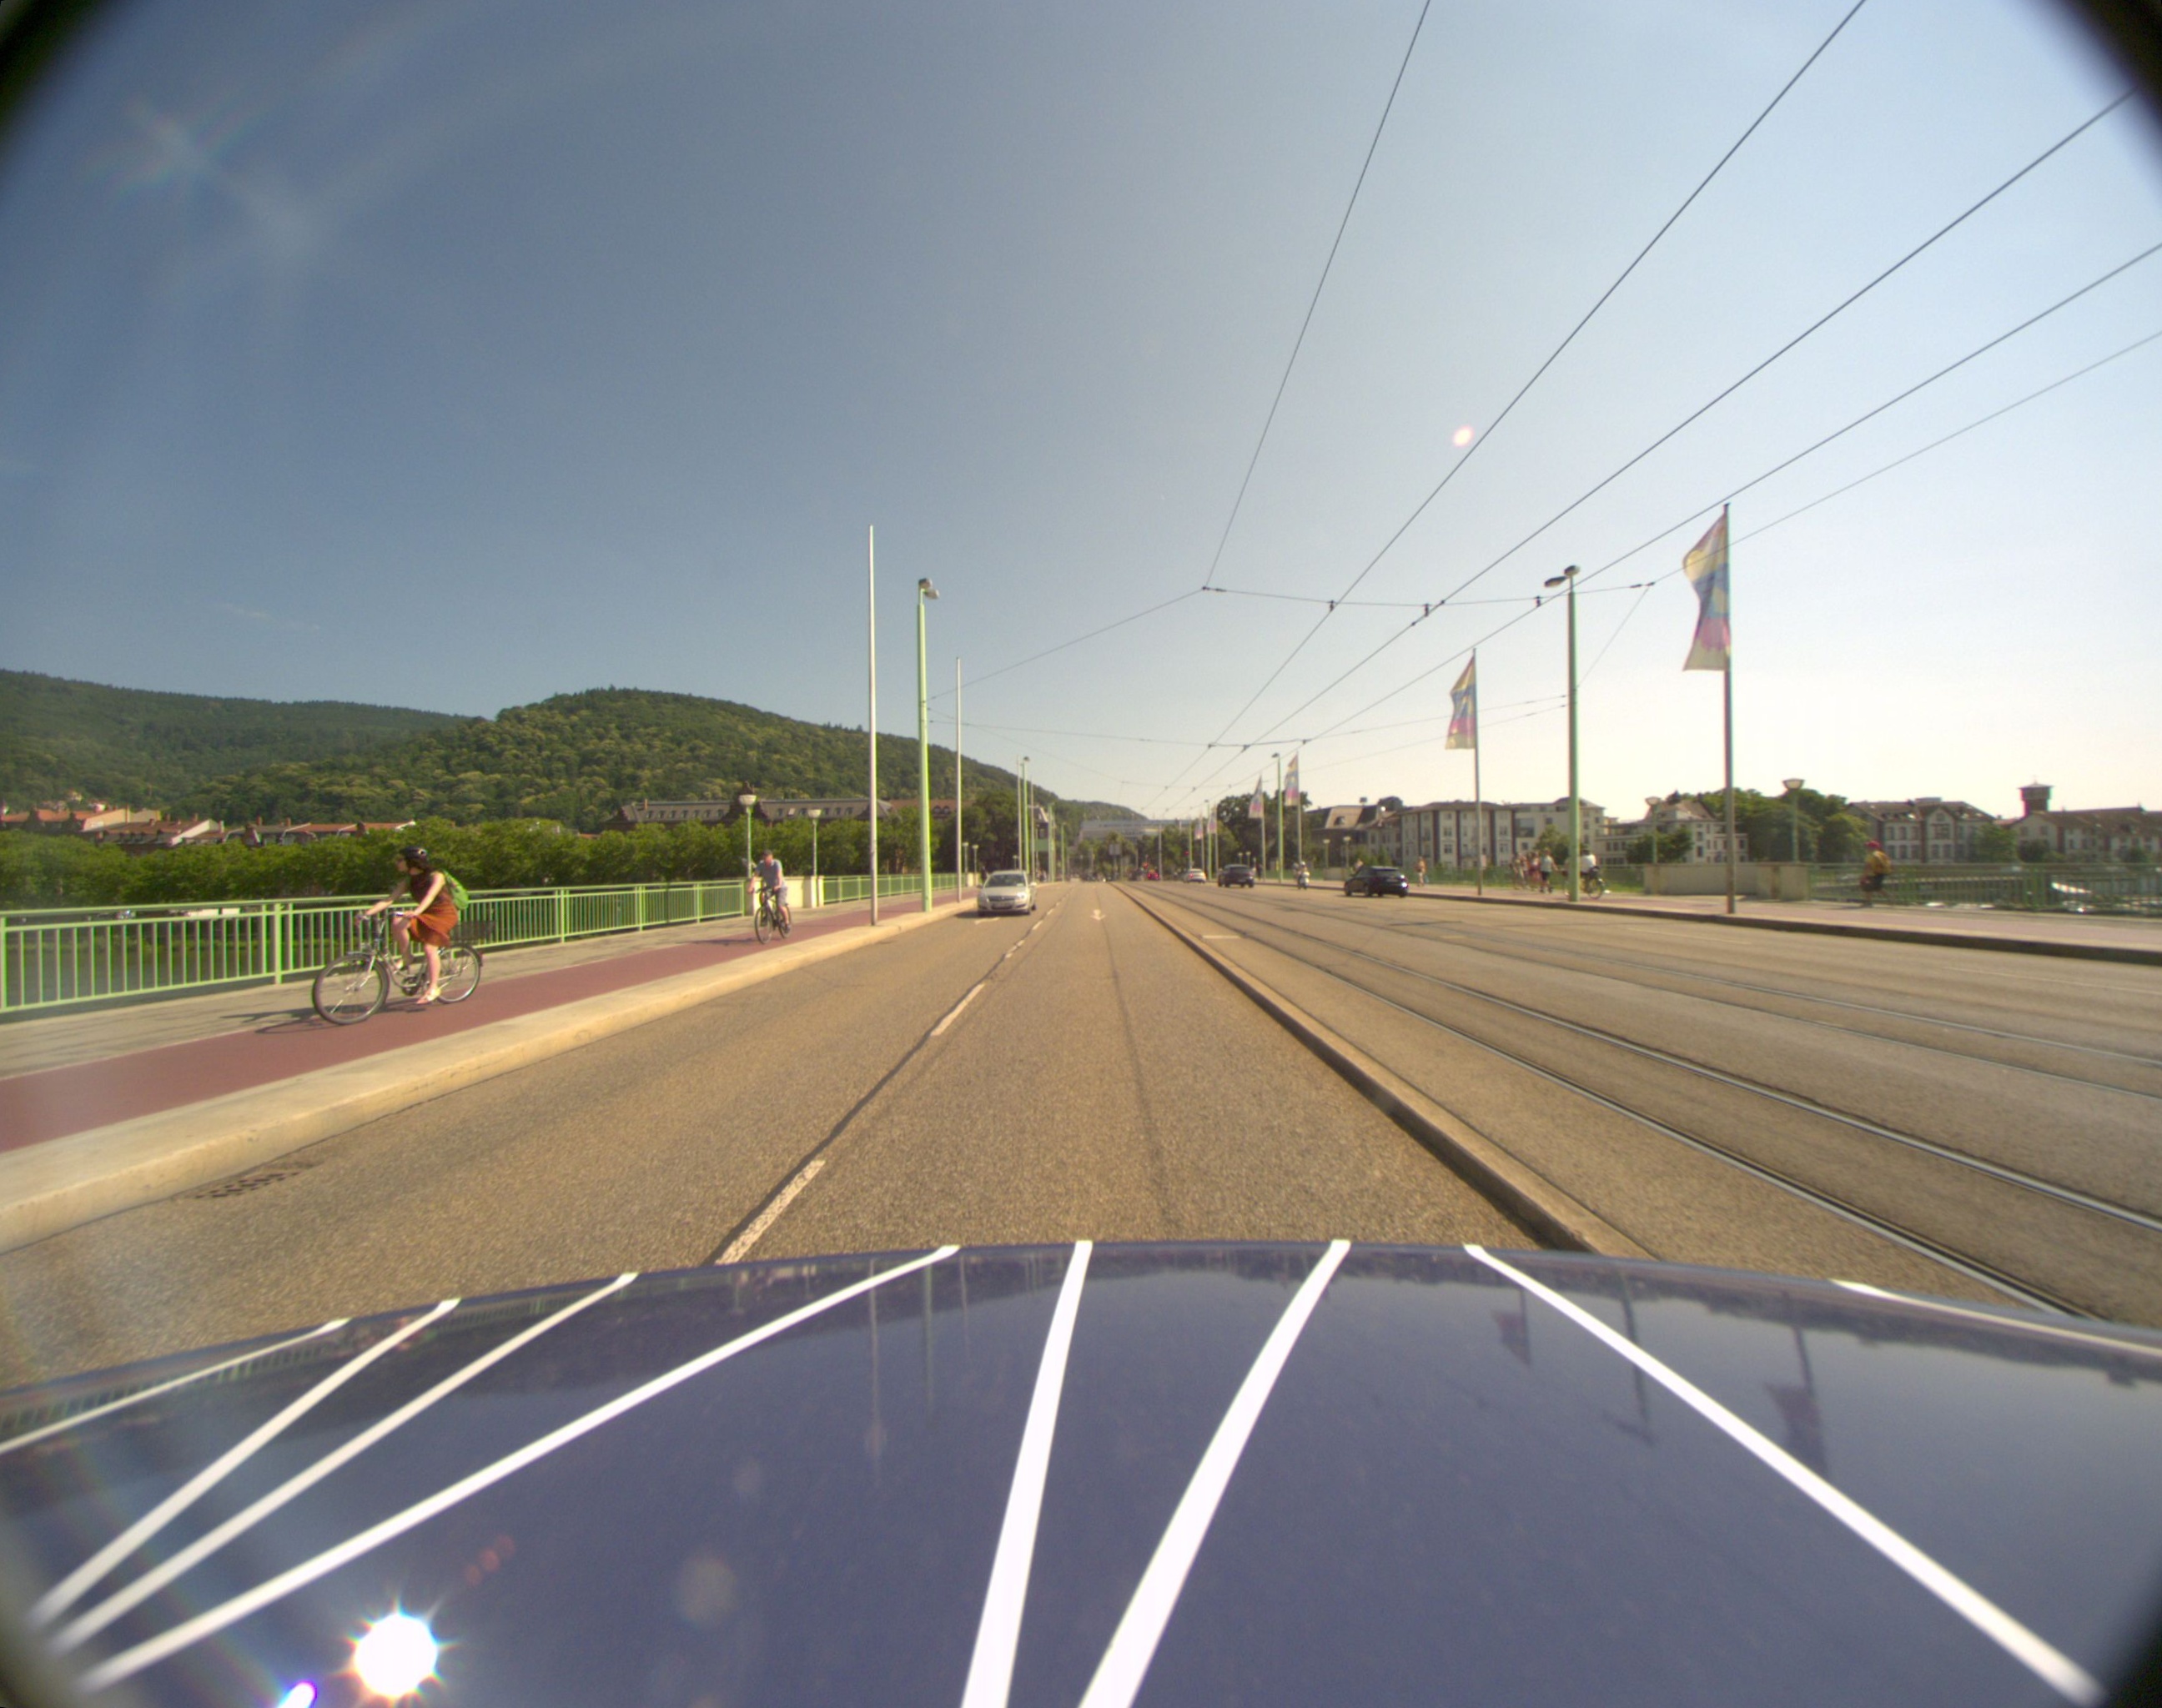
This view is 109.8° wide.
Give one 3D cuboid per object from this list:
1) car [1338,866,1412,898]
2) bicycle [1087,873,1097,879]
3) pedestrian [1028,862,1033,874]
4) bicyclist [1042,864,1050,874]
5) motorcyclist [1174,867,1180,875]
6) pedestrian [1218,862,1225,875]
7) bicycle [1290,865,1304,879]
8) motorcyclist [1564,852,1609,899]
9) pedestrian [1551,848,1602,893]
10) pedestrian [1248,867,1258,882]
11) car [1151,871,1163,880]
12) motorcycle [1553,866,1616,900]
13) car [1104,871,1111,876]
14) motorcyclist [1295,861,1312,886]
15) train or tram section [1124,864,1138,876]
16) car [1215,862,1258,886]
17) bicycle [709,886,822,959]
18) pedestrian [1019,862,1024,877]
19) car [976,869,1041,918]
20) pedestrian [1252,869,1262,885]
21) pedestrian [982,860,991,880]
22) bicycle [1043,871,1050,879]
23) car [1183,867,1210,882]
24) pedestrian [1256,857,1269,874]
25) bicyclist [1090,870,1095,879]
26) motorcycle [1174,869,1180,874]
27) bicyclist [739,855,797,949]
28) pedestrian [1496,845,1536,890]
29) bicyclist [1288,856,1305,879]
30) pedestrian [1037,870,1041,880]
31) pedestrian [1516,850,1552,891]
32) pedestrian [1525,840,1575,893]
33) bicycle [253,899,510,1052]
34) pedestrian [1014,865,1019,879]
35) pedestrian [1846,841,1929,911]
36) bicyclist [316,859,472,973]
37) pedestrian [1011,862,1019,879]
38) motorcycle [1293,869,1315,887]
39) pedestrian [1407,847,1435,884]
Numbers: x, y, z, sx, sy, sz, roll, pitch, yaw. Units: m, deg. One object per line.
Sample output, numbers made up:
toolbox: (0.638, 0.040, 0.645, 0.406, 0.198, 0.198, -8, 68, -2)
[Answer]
car: (13.621, 1.262, 35.424, 1.762, 1.354, 4.384, -1, -1, 0)
bicycle: (2.125, 4.153, 145.375, 1.917, 1.107, 0.762, -1, 0, 7)
pedestrian: (-6.968, 1.930, 105.078, 0.656, 1.640, 0.868, -1, 0, -5)
bicyclist: (-4.817, 2.024, 104.888, 0.912, 1.385, 1.233, 0, -1, 4)
motorcyclist: (17.164, 2.969, 136.085, 0.847, 1.393, 0.898, -2, -1, -1)
pedestrian: (21.069, 2.200, 113.834, 0.740, 1.842, 0.975, -4, -1, -2)
bicycle: (18.510, 1.542, 65.208, 0.590, 1.090, 2.112, -1, 0, -1)
motorcyclist: (17.085, 0.708, 25.711, 0.802, 1.540, 1.069, -1, 0, 0)
pedestrian: (19.522, 0.656, 29.990, 1.100, 1.719, 1.295, -1, -1, -2)
pedestrian: (20.252, 2.433, 89.528, 0.740, 1.773, 0.957, -4, -1, -2)
car: (13.566, 3.757, 135.452, 1.998, 1.505, 4.191, -2, -1, 4)
motorcycle: (17.117, 0.962, 25.909, 0.702, 1.103, 2.179, -1, -1, 0)
car: (7.151, 5.357, 206.587, 1.638, 1.300, 3.914, 0, -2, -5)
motorcyclist: (14.038, 1.243, 47.893, 0.829, 1.564, 0.832, -1, 0, 0)
train or tram section: (14.689, 4.696, 224.514, 2.767, 3.382, 12.411, 0, -2, -3)
car: (10.922, 1.406, 53.596, 1.999, 1.590, 4.338, -2, -1, -1)
bicycle: (-5.933, 1.221, 14.619, 0.794, 1.089, 3.743, 1, 0, -3)
pedestrian: (-7.248, 1.903, 92.809, 0.587, 1.783, 0.632, -1, 0, -4)
car: (-2.413, 1.305, 26.283, 1.802, 1.492, 4.498, -2, -2, 0)
pedestrian: (20.830, 2.666, 89.862, 0.740, 1.837, 1.121, -4, -1, -1)
pedestrian: (-8.159, 1.407, 65.783, 0.656, 1.733, 0.978, -1, -2, -4)
bicycle: (-4.804, 2.839, 104.876, 0.643, 1.076, 2.498, 0, -2, 4)
car: (11.527, 2.057, 75.972, 1.998, 1.401, 4.548, -1, -1, 1)
pedestrian: (19.840, 1.259, 83.028, 1.100, 1.747, 1.295, -1, -1, -2)
bicyclist: (2.235, 3.903, 145.378, 0.770, 1.599, 0.881, -1, -1, 10)
motorcycle: (17.195, 3.133, 136.258, 0.847, 1.018, 1.952, -2, -1, 0)
bicyclist: (-5.986, 0.885, 14.607, 0.675, 1.733, 1.150, -1, 0, -3)
pedestrian: (19.610, 0.609, 34.281, 1.100, 2.001, 1.129, -1, -1, -2)
bicyclist: (18.511, 1.189, 65.253, 1.100, 1.949, 1.129, -1, -1, -2)
pedestrian: (-6.856, 3.444, 124.454, 0.651, 1.553, 0.692, 0, -1, 2)
pedestrian: (19.278, 0.695, 32.349, 0.756, 1.712, 1.175, -2, 0, -1)
pedestrian: (18.486, 0.504, 29.993, 1.100, 2.001, 1.295, -1, -1, -2)
bicycle: (-6.747, 1.095, 7.525, 0.697, 1.186, 2.079, 0, 0, -3)
pedestrian: (-7.888, 2.193, 92.783, 0.524, 1.639, 0.699, -1, 0, -5)
pedestrian: (19.778, 0.522, 18.659, 0.901, 1.648, 1.029, -2, 0, 3)
bicyclist: (-6.737, 0.580, 7.511, 0.668, 1.038, 0.980, -1, -1, -4)
pedestrian: (-7.620, 1.910, 87.320, 0.876, 2.001, 1.059, -1, 0, -5)
motorcycle: (14.050, 1.516, 47.897, 0.702, 1.103, 2.179, -1, -1, 0)
pedestrian: (18.834, 0.653, 42.158, 0.971, 2.001, 1.101, -1, -1, -4)
